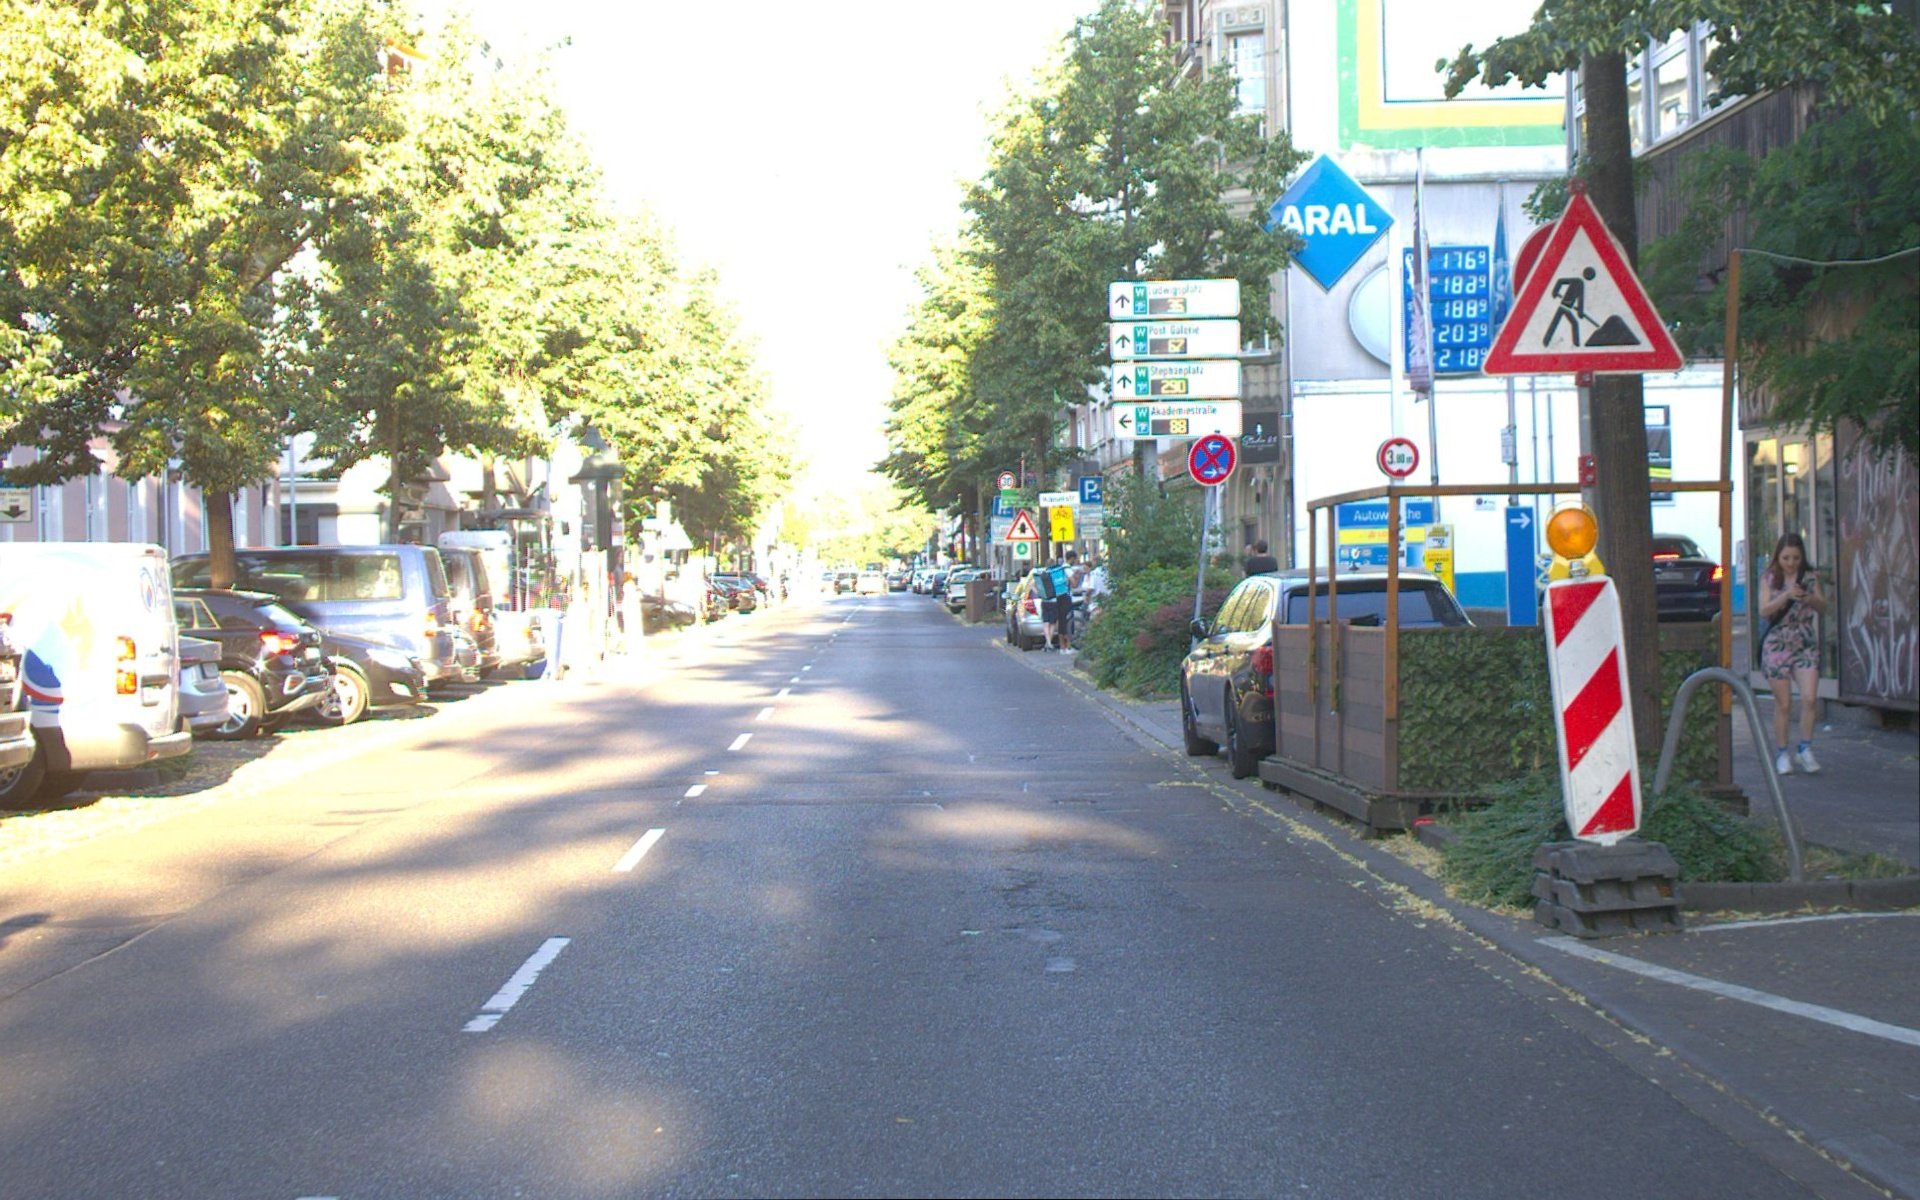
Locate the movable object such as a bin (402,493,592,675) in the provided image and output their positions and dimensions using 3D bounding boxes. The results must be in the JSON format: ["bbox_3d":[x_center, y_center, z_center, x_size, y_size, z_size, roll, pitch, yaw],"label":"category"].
[{"bbox_3d":[-7.861,-0.283,58.934,2.624,2.959,5.303,-1,0,-1],"label":"movable object such as a bin"}]

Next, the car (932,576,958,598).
[{"bbox_3d":[-0.868,-0.738,203.413,1.513,1.271,3.303,0,0,0],"label":"car"}]

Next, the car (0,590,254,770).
[{"bbox_3d":[-8.457,0.658,29.400,4.478,1.480,1.734,0,1,1],"label":"car"}]

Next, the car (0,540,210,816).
[{"bbox_3d":[-8.075,0.559,24.833,4.870,1.901,1.974,-1,0,-1],"label":"car"}]

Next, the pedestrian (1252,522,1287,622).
[{"bbox_3d":[5.854,-0.526,65.072,0.460,1.869,0.501,-2,1,-16],"label":"pedestrian"}]

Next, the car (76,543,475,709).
[{"bbox_3d":[-8.337,0.302,42.181,4.483,1.969,2.068,0,1,0],"label":"car"}]

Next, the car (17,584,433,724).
[{"bbox_3d":[-8.072,0.585,38.083,4.325,1.496,1.842,0,1,-6],"label":"car"}]

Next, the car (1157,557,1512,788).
[{"bbox_3d":[2.702,0.479,25.926,1.828,1.483,4.850,-3,1,-3],"label":"car"}]

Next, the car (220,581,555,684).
[{"bbox_3d":[-8.396,0.464,50.670,4.594,1.465,1.892,0,1,2],"label":"car"}]

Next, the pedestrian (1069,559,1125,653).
[{"bbox_3d":[2.546,0.112,63.856,0.667,1.694,0.651,-3,1,45],"label":"pedestrian"}]

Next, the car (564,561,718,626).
[{"bbox_3d":[-9.724,-0.194,105.057,4.571,1.955,1.991,0,0,-1],"label":"car"}]

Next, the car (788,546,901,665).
[{"bbox_3d":[-1.894,0.075,57.398,1.708,1.817,4.013,-3,1,-1],"label":"car"}]

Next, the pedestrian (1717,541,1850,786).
[{"bbox_3d":[5.264,0.396,21.998,0.610,1.520,0.773,-2,0,-1],"label":"pedestrian"}]

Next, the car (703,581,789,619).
[{"bbox_3d":[-11.228,0.009,180.664,4.442,1.953,1.919,0,0,0],"label":"car"}]

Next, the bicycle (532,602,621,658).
[{"bbox_3d":[-7.722,0.608,69.220,1.683,1.075,0.444,2,-1,7],"label":"bicycle"}]

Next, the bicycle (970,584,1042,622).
[{"bbox_3d":[1.318,0.092,99.002,1.957,1.070,0.704,0,0,31],"label":"bicycle"}]

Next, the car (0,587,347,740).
[{"bbox_3d":[-8.388,0.624,34.992,3.923,1.496,1.905,0,1,2],"label":"car"}]

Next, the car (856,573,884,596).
[{"bbox_3d":[-6.035,-1.026,231.185,1.752,1.535,3.303,-1,0,0],"label":"car"}]

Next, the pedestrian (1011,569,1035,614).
[{"bbox_3d":[1.955,-0.259,106.898,0.726,1.374,0.781,-1,0,-1],"label":"pedestrian"}]

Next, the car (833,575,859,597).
[{"bbox_3d":[-8.266,-1.039,249.482,1.752,1.535,3.303,-1,0,0],"label":"car"}]

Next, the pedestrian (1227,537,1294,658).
[{"bbox_3d":[4.773,-0.043,54.688,0.822,1.847,1.097,-3,0,-2],"label":"pedestrian"}]

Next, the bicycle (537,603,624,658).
[{"bbox_3d":[-7.705,0.618,69.806,1.683,1.075,0.444,2,-1,7],"label":"bicycle"}]

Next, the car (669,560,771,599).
[{"bbox_3d":[-10.699,-0.918,153.294,4.442,1.753,1.919,0,0,0],"label":"car"}]

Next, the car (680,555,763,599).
[{"bbox_3d":[-13.229,-1.275,190.717,4.442,2.427,1.919,0,0,0],"label":"car"}]

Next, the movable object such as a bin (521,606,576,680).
[{"bbox_3d":[-6.303,0.657,52.674,0.690,1.101,0.883,-2,0,1],"label":"movable object such as a bin"}]

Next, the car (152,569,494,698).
[{"bbox_3d":[-8.272,0.421,44.904,4.129,1.631,1.860,0,1,0],"label":"car"}]

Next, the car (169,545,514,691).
[{"bbox_3d":[-8.498,0.233,47.530,4.483,1.969,1.966,0,1,-3],"label":"car"}]

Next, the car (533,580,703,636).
[{"bbox_3d":[-9.414,0.215,94.844,4.546,1.536,1.811,0,0,-2],"label":"car"}]

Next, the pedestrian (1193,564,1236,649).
[{"bbox_3d":[4.789,0.112,64.719,0.658,1.557,0.701,-3,0,-1],"label":"pedestrian"}]

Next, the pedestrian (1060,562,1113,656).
[{"bbox_3d":[2.373,0.170,64.463,0.677,1.700,0.825,-3,0,-15],"label":"pedestrian"}]

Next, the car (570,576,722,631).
[{"bbox_3d":[-9.828,0.109,107.827,4.571,1.692,2.060,0,0,0],"label":"car"}]

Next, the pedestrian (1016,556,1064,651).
[{"bbox_3d":[1.493,0.060,64.174,0.677,1.748,0.825,-1,0,-11],"label":"pedestrian"}]

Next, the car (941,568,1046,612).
[{"bbox_3d":[1.231,-0.371,123.608,1.674,1.583,3.814,0,0,42],"label":"car"}]

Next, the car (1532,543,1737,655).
[{"bbox_3d":[9.317,0.013,47.840,1.734,1.426,4.908,-2,-1,-1],"label":"car"}]

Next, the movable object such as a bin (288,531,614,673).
[{"bbox_3d":[-9.284,0.004,63.184,2.312,2.487,5.740,0,0,42],"label":"movable object such as a bin"}]

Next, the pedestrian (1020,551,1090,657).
[{"bbox_3d":[1.695,0.067,61.425,1.013,1.819,0.780,-3,0,-11],"label":"pedestrian"}]

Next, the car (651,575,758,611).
[{"bbox_3d":[-10.893,-0.313,146.788,4.442,1.518,1.919,0,0,0],"label":"car"}]

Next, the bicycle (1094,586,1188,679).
[{"bbox_3d":[2.415,0.424,45.689,0.483,1.139,1.678,-3,0,29],"label":"bicycle"}]

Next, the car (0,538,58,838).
[{"bbox_3d":[-8.182,0.574,21.764,4.428,1.863,1.894,-1,0,0],"label":"car"}]

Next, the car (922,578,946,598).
[{"bbox_3d":[-1.663,-0.747,221.413,1.513,1.259,3.303,0,0,0],"label":"car"}]

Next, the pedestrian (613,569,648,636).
[{"bbox_3d":[-8.403,0.062,87.628,0.710,1.680,0.833,0,0,8],"label":"pedestrian"}]

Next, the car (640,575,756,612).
[{"bbox_3d":[-10.327,-0.264,135.920,4.442,1.444,1.919,0,0,0],"label":"car"}]

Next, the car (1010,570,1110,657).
[{"bbox_3d":[1.925,0.242,67.338,1.687,1.569,4.013,-3,1,-1],"label":"car"}]

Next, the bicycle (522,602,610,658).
[{"bbox_3d":[-7.868,0.600,68.627,1.682,1.075,0.444,2,-1,-1],"label":"bicycle"}]

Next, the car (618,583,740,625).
[{"bbox_3d":[-10.556,0.139,129.220,4.442,1.562,1.919,0,0,0],"label":"car"}]
